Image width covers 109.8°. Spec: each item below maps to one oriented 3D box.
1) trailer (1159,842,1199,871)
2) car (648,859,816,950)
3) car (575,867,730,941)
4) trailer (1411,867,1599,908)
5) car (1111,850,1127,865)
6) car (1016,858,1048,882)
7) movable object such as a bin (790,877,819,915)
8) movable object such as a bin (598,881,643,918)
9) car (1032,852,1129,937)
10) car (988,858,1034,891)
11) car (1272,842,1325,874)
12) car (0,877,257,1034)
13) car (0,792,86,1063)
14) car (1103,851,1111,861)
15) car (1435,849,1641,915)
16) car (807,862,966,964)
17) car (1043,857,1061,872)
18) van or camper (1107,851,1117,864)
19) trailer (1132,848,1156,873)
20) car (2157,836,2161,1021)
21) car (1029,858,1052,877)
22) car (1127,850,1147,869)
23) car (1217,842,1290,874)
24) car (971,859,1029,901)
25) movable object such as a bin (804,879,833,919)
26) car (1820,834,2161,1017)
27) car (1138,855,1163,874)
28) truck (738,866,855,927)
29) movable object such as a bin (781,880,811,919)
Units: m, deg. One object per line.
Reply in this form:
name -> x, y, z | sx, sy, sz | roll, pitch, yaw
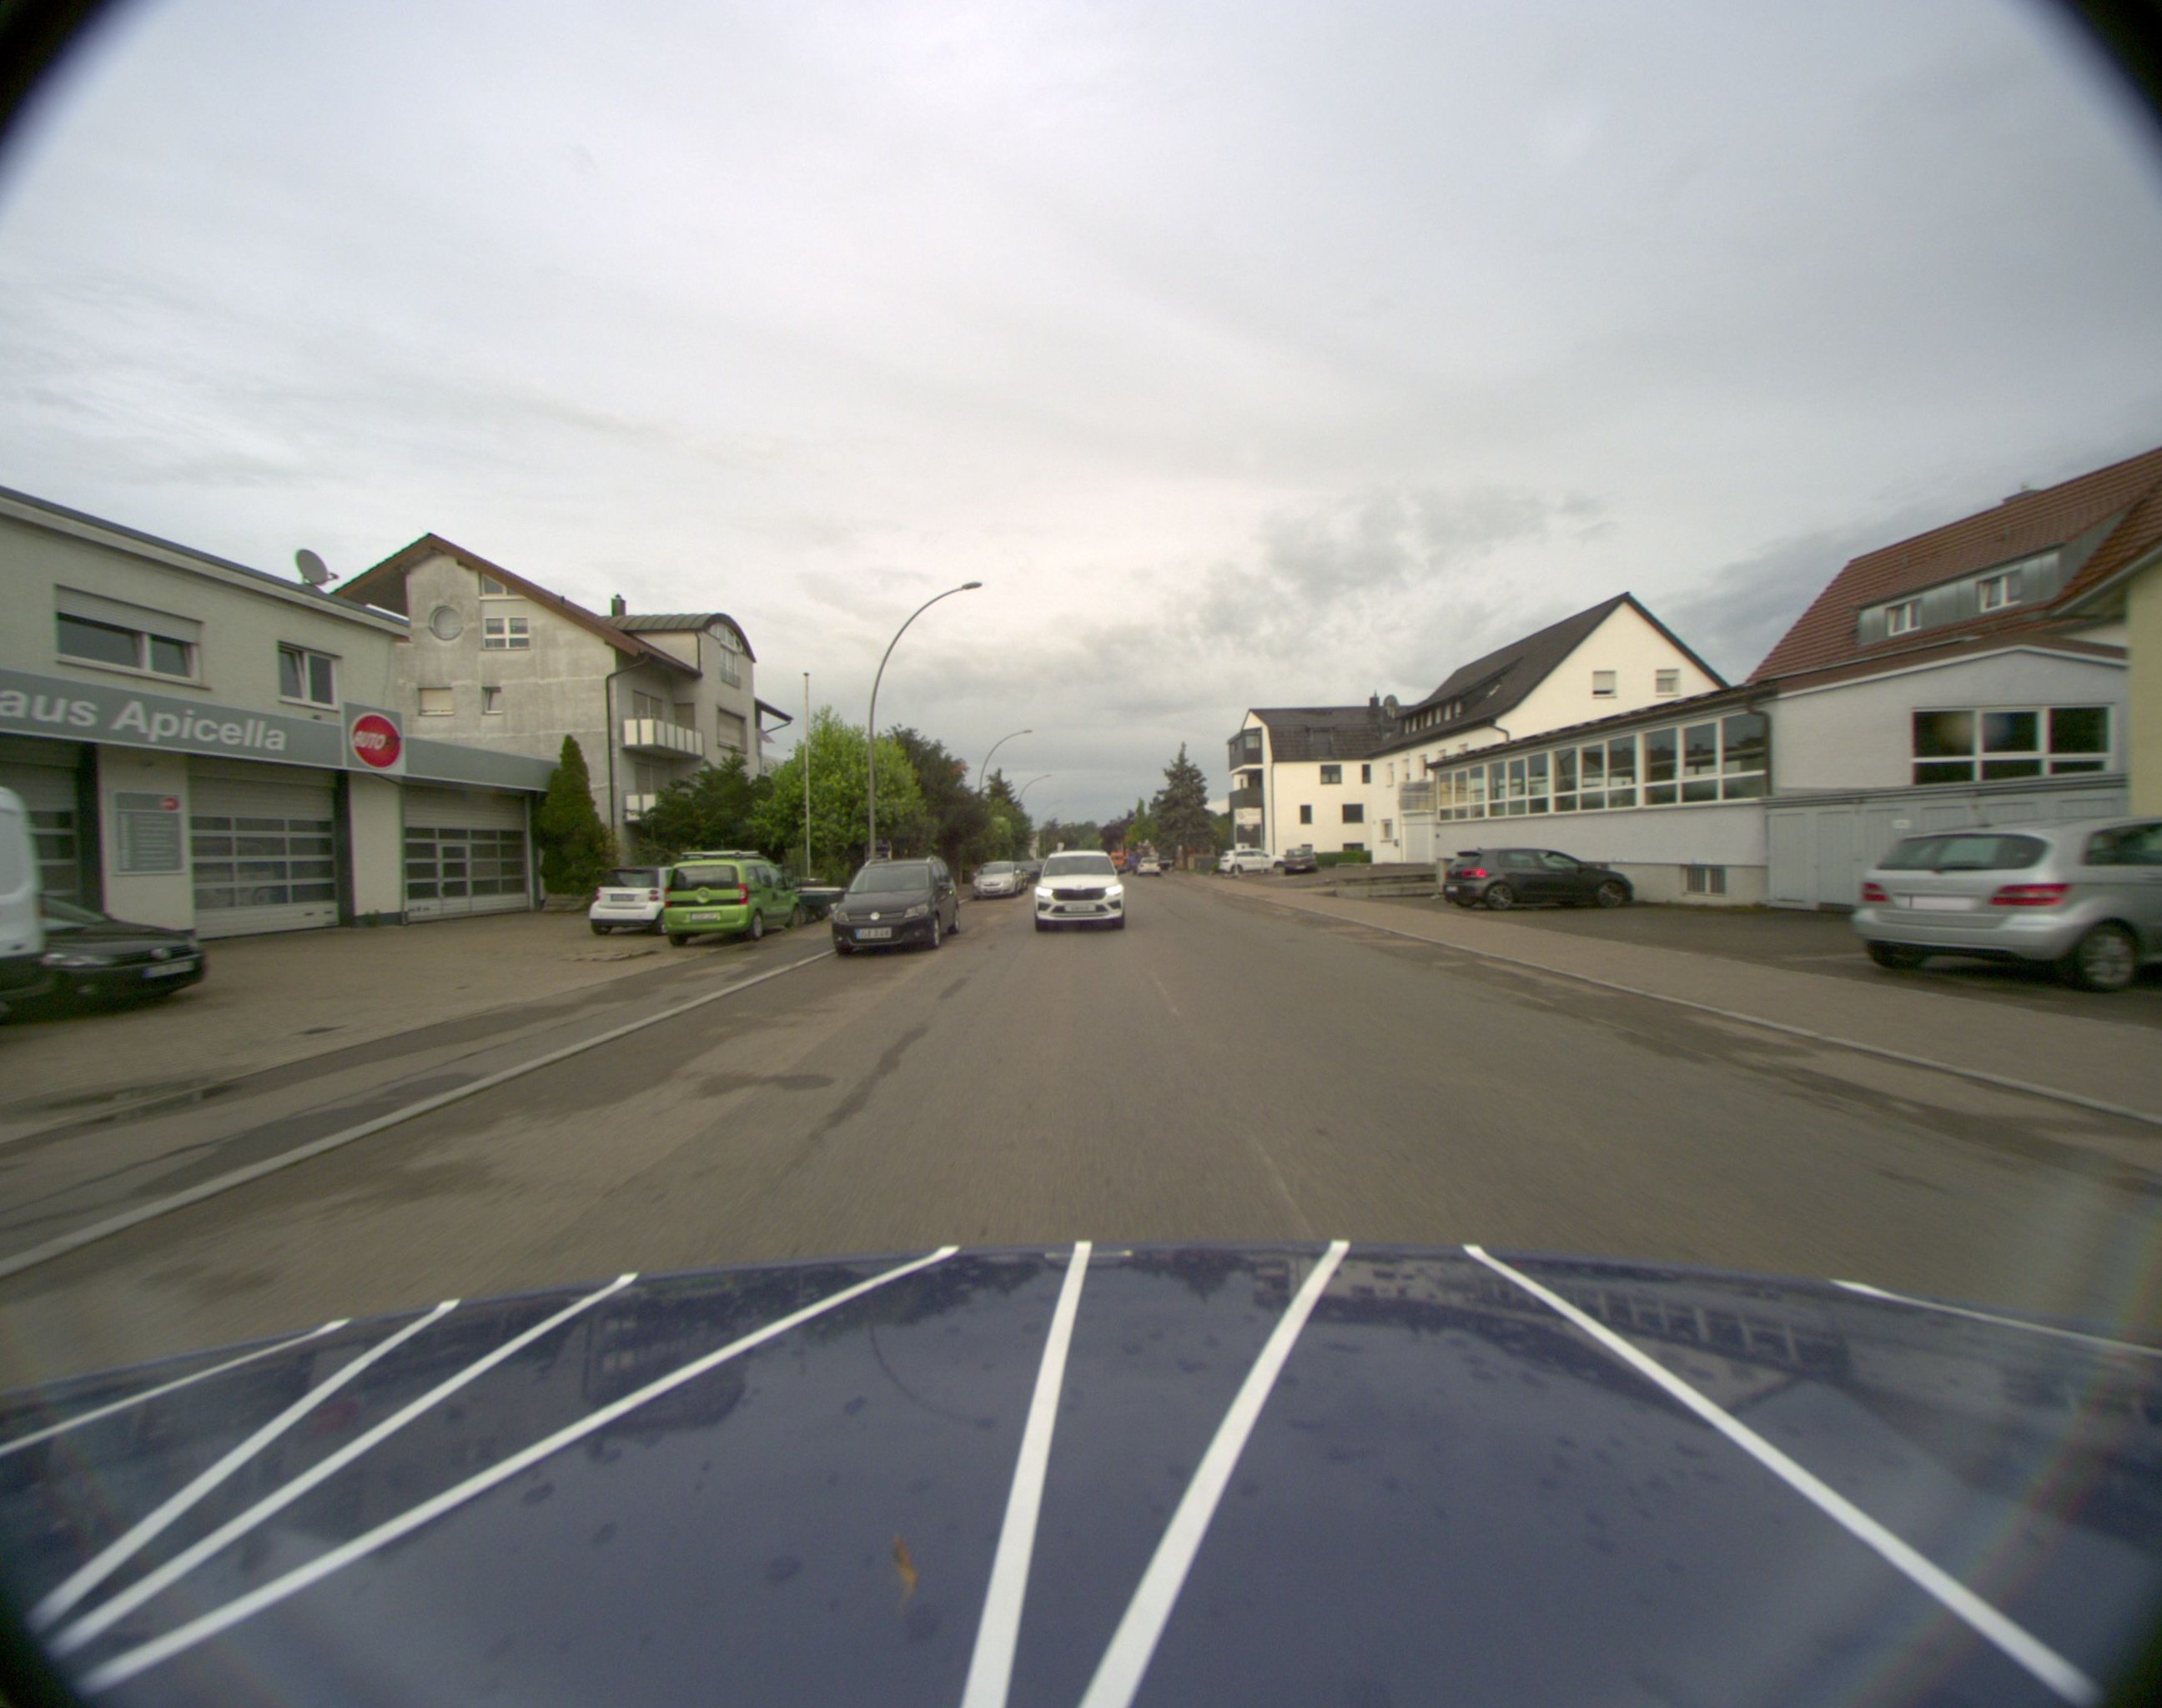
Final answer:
trailer -> 10.730, 0.247, 83.340 | 4.059, 3.029, 2.168 | -2, 1, 0
car -> -7.374, 0.976, 16.554 | 1.999, 1.673, 3.998 | -2, 0, -4
car -> -10.131, 1.111, 18.312 | 1.752, 1.510, 3.731 | 2, 0, -4
trailer -> 11.633, 0.893, 21.019 | 4.208, 0.937, 1.794 | -2, 0, -2
car -> 5.891, 0.567, 117.515 | 2.264, 2.275, 4.531 | 1, 0, 0
car -> -3.145, 1.001, 49.218 | 1.756, 1.410, 4.110 | -1, 0, 0
movable object such as a bin -> -8.130, 1.225, 22.365 | 0.576, 1.069, 0.682 | -1, 1, 0
movable object such as a bin -> -14.314, 1.405, 23.650 | 0.860, 1.072, 0.758 | -3, 1, -1
car -> 0.008, 0.803, 17.332 | 1.884, 1.650, 4.831 | -1, 0, 0
car -> -3.318, 0.952, 36.508 | 1.742, 1.395, 3.718 | -3, 0, 0
car -> 12.187, 0.212, 42.856 | 1.824, 1.521, 4.000 | -7, 0, 3
car -> -12.827, 1.139, 8.795 | 4.313, 1.564, 1.896 | -2, 0, -3
car -> -12.195, 0.733, 5.955 | 4.809, 2.506, 2.243 | -2, 0, -21
car -> 6.333, 0.527, 184.097 | 1.659, 2.220, 3.744 | -2, 1, 0
car -> 10.853, 0.642, 18.246 | 3.883, 1.430, 1.767 | -1, 0, -1
car -> -3.447, 0.975, 14.300 | 1.999, 1.586, 4.000 | -1, 0, -1
car -> -3.038, 1.081, 79.862 | 1.677, 1.455, 3.690 | -3, 0, 0
van or camper -> 5.990, 0.673, 148.966 | 1.811, 2.328, 4.000 | -2, 0, 2
trailer -> 5.581, 0.552, 67.873 | 1.722, 2.114, 4.006 | -2, 1, 0
car -> 10.992, 0.559, 5.499 | 4.095, 1.524, 1.813 | -2, 0, -3
car -> -3.093, 1.026, 58.954 | 1.657, 1.431, 4.042 | -1, 0, -2
car -> 6.297, 0.622, 85.749 | 1.998, 2.112, 4.755 | -1, 0, 1
car -> 10.765, 0.262, 47.677 | 3.997, 1.637, 2.000 | -5, 0, -2
car -> -3.219, 0.994, 30.916 | 1.741, 1.493, 3.881 | -3, 0, 2
movable object such as a bin -> -7.495, 1.279, 21.721 | 0.576, 1.069, 0.682 | -1, 1, 0
car -> 10.452, 0.595, 7.755 | 4.096, 1.524, 1.999 | -1, 1, -5
car -> 5.593, 0.832, 61.397 | 1.740, 1.496, 3.871 | -1, 0, 1
truck -> -7.567, 1.117, 20.283 | 2.560, 1.520, 1.327 | -2, -1, 8
movable object such as a bin -> -8.121, 1.285, 21.672 | 0.576, 1.069, 0.682 | -1, 1, 0
